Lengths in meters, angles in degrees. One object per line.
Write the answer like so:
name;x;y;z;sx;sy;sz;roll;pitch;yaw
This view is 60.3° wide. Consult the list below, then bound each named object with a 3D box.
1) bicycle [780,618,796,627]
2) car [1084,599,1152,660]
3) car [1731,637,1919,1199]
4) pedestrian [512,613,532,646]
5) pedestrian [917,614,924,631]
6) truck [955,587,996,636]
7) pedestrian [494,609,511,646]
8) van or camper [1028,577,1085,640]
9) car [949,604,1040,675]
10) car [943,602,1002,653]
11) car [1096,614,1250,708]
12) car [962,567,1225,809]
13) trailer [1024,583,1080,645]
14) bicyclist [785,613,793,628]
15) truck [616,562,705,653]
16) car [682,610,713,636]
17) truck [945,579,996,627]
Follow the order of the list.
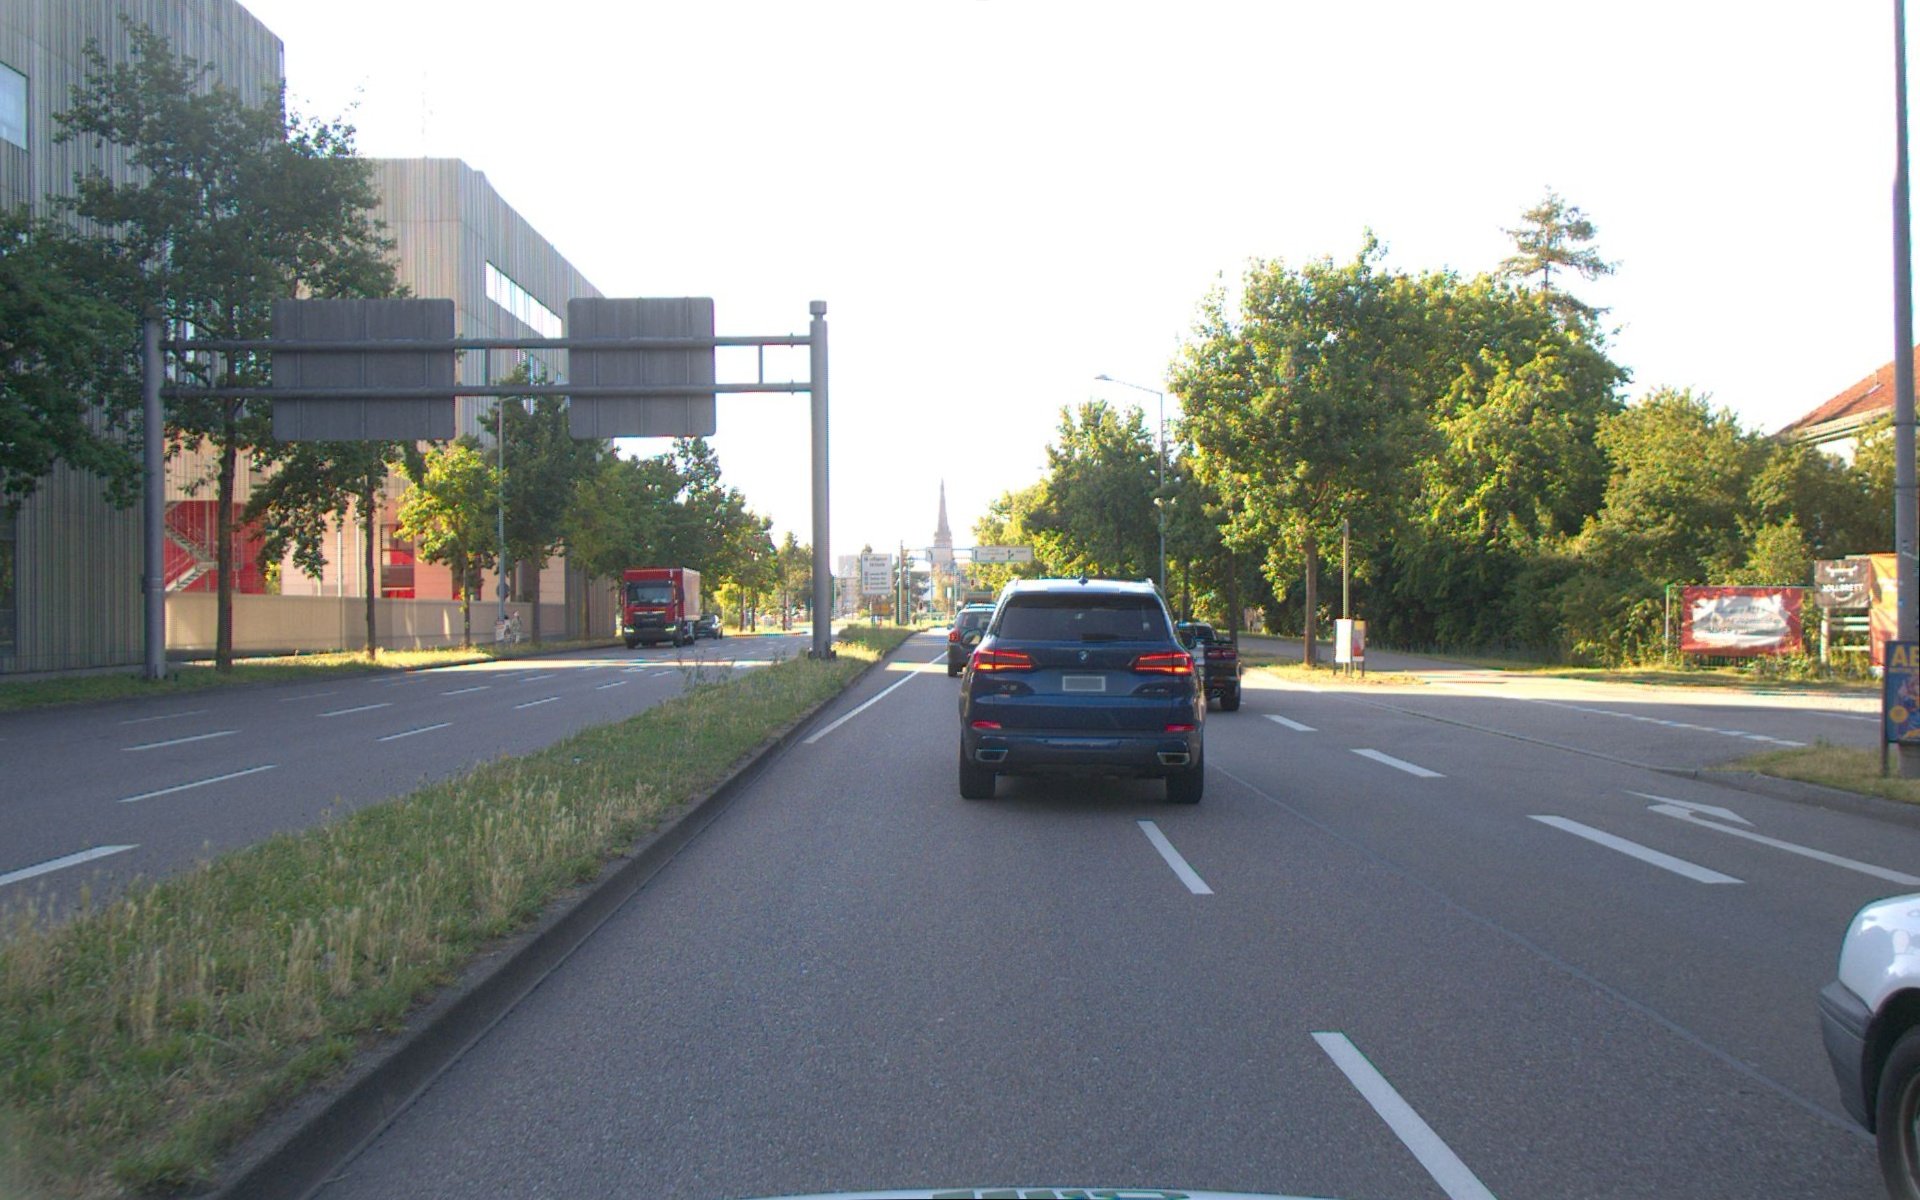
bicycle;-21.207;2.780;203.548;1.868;1.037;0.505;0;-1;15
car;4.504;0.822;47.470;1.711;1.649;3.821;-1;0;2
car;3.082;0.806;2.792;1.578;1.423;4.036;1;-1;-2
pedestrian;-21.824;1.461;82.458;0.760;1.629;0.909;-1;-1;0
pedestrian;-4.868;2.746;201.492;0.774;2.049;0.700;0;0;-7
truck;0.932;0.639;93.761;2.173;2.697;4.774;-1;0;2
pedestrian;-22.968;1.371;82.994;0.619;1.873;0.716;-1;-1;0
van or camper;4.261;0.386;74.051;2.237;2.675;6.583;0;0;1
car;0.823;0.853;37.116;1.710;1.499;3.822;-1;0;6
car;0.472;0.962;57.969;1.865;1.689;4.001;-1;-1;3
car;3.327;0.924;26.674;1.816;1.361;4.624;1;0;-1
car;0.993;0.684;14.480;1.915;1.757;4.699;0;-1;0
trailer;3.731;0.589;67.878;2.047;2.443;3.500;1;-1;-1
bicyclist;-21.033;2.495;203.514;0.795;1.802;0.496;0;-1;14
truck;-13.655;0.345;76.065;2.939;3.878;10.080;-1;0;-4
car;-15.659;1.365;98.765;1.565;1.539;3.863;-1;0;-5
truck;0.549;0.188;94.594;2.529;2.603;6.247;-1;0;-3
